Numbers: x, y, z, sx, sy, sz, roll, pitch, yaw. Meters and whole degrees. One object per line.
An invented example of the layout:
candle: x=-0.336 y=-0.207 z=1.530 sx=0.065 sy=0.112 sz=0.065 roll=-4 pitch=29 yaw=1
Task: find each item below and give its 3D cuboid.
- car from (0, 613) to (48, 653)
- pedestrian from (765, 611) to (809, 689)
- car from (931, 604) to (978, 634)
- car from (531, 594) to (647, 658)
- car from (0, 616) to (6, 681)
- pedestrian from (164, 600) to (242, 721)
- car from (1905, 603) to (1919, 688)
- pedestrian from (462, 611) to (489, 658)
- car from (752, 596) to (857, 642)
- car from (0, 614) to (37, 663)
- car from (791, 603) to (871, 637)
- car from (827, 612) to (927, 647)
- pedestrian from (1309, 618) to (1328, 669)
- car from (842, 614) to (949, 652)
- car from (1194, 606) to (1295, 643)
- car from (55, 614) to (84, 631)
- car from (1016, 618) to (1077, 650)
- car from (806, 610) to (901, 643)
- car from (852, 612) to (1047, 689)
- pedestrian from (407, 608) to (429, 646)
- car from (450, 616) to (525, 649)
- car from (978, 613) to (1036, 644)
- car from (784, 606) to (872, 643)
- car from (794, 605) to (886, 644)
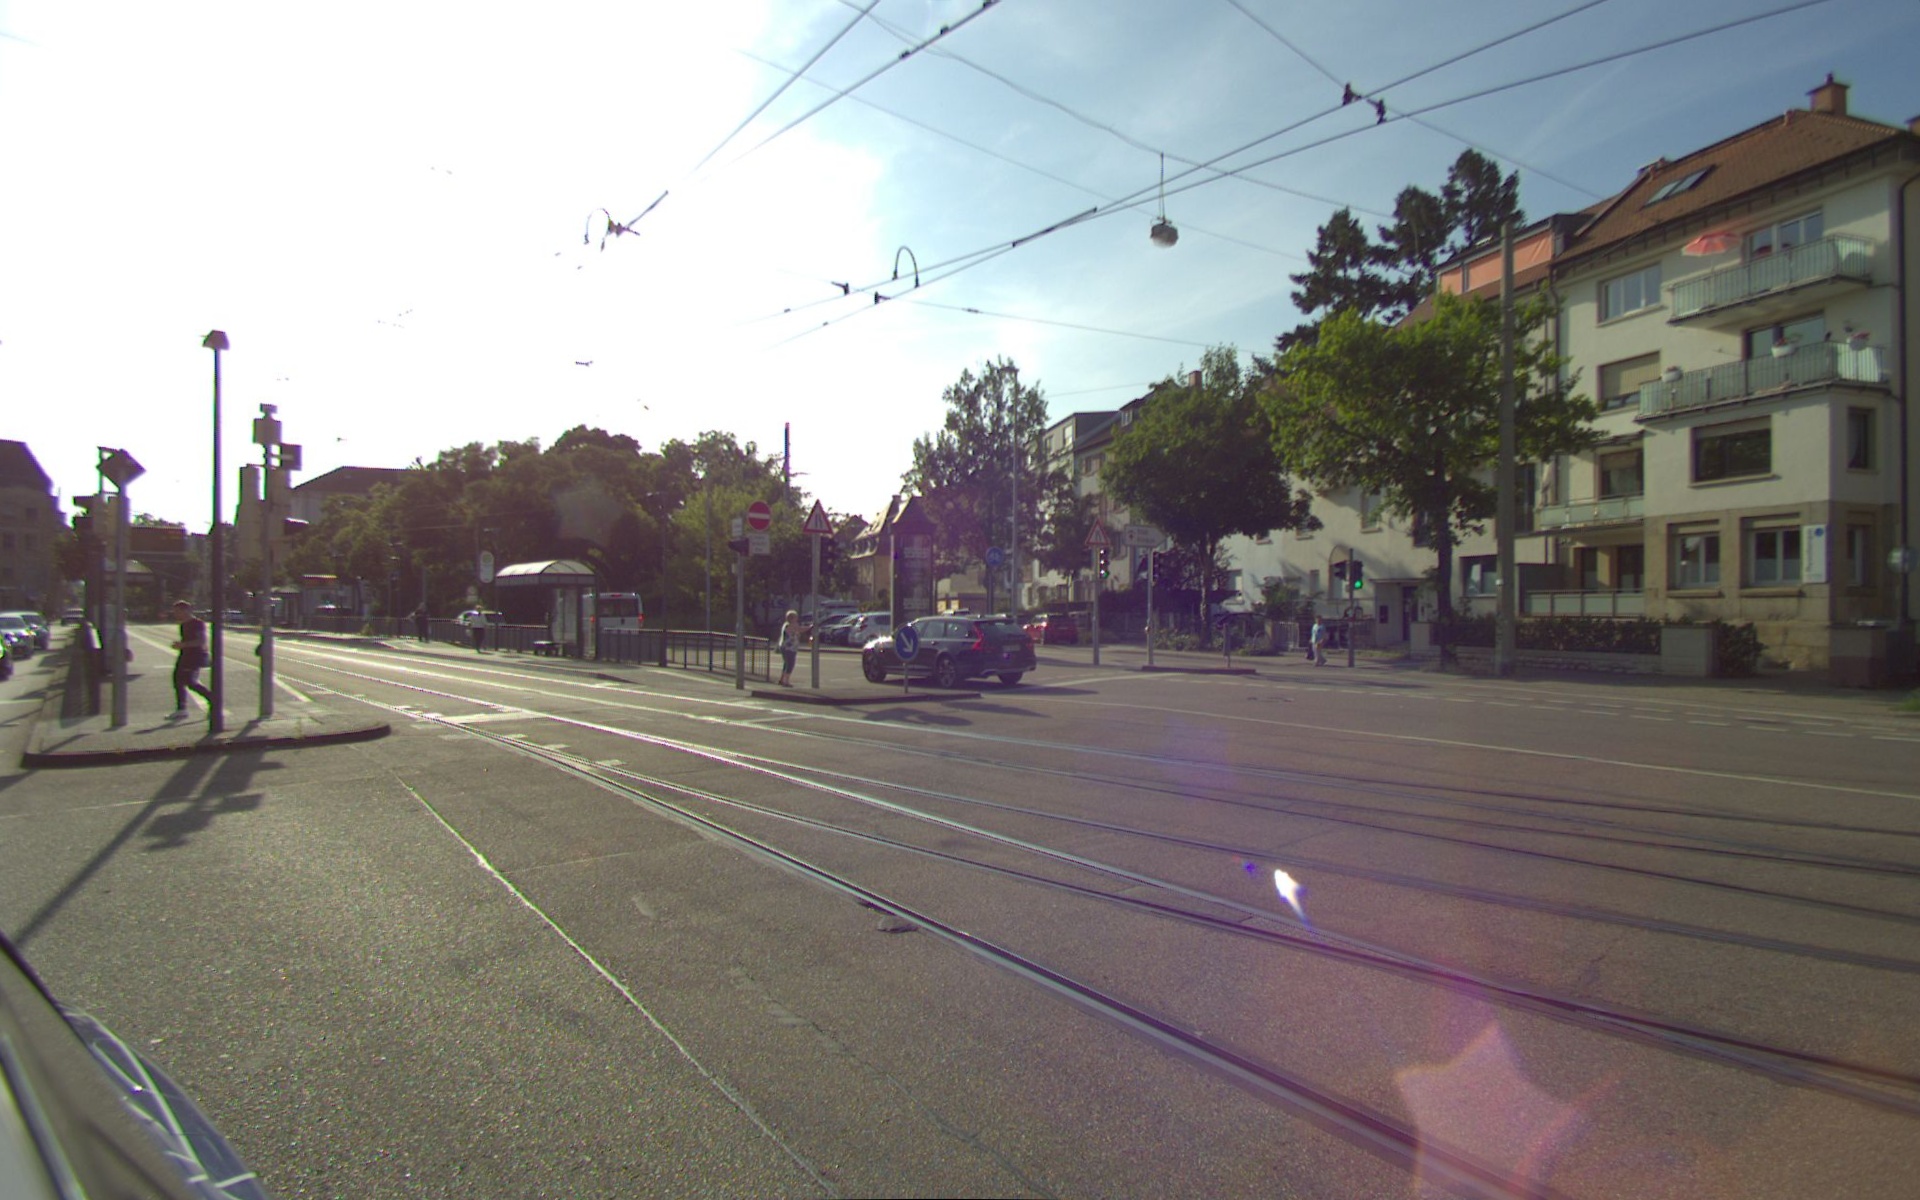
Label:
car: x=-37.285 y=1.278 z=40.013 sx=1.755 sy=1.516 sz=4.006 roll=1 pitch=-1 yaw=-41
pedestrian: x=-3.611 y=1.027 z=21.130 sx=0.583 sy=1.601 sz=0.716 roll=1 pitch=-1 yaw=-45
car: x=-0.392 y=1.212 z=63.295 sx=1.787 sy=1.813 sz=4.012 roll=0 pitch=-1 yaw=-19
car: x=-14.026 y=0.955 z=38.061 sx=2.151 sy=2.256 sz=5.257 roll=1 pitch=-2 yaw=-44
car: x=-23.070 y=1.122 z=23.075 sx=1.755 sy=1.516 sz=4.006 roll=1 pitch=-1 yaw=-41
pedestrian: x=-10.928 y=0.854 z=14.615 sx=0.869 sy=1.683 sz=0.673 roll=1 pitch=-1 yaw=-39
car: x=20.731 y=0.870 z=19.585 sx=3.932 sy=1.644 sz=1.781 roll=0 pitch=-1 yaw=-17
pedestrian: x=-17.322 y=1.224 z=36.177 sx=0.697 sy=1.640 sz=0.728 roll=1 pitch=-1 yaw=-41
car: x=-10.031 y=1.199 z=65.549 sx=6.488 sy=2.830 sz=1.778 roll=0 pitch=-1 yaw=-20
car: x=-31.077 y=1.199 z=32.787 sx=1.647 sy=1.516 sz=3.877 roll=1 pitch=-1 yaw=-41
car: x=-6.968 y=1.055 z=54.637 sx=3.930 sy=1.767 sz=1.860 roll=0 pitch=-1 yaw=-23
car: x=-3.577 y=1.258 z=43.411 sx=3.931 sy=1.439 sz=1.778 roll=0 pitch=-1 yaw=-20
pedestrian: x=10.925 y=1.314 z=30.831 sx=0.399 sy=1.527 sz=0.391 roll=0 pitch=-1 yaw=-15
car: x=-2.594 y=1.296 z=40.520 sx=3.931 sy=1.439 sz=1.778 roll=0 pitch=-1 yaw=-20
car: x=12.772 y=1.089 z=45.509 sx=3.932 sy=1.570 sz=1.862 roll=0 pitch=-1 yaw=-16
car: x=-87.818 y=2.198 z=99.779 sx=1.970 sy=1.697 sz=4.004 roll=1 pitch=-1 yaw=-43
car: x=4.086 y=1.579 z=48.285 sx=1.523 sy=1.437 sz=3.876 roll=0 pitch=-1 yaw=-18
car: x=-4.843 y=1.191 z=45.988 sx=3.931 sy=1.439 sz=1.778 roll=0 pitch=-1 yaw=-20
car: x=-0.359 y=1.088 z=22.196 sx=1.744 sy=1.506 sz=4.753 roll=1 pitch=-3 yaw=-38
pedestrian: x=-23.718 y=1.167 z=44.292 sx=0.725 sy=1.640 sz=0.690 roll=1 pitch=-1 yaw=-41
car: x=-22.477 y=1.555 z=48.098 sx=4.121 sy=1.537 sz=1.659 roll=-2 pitch=-2 yaw=40
car: x=2.454 y=1.509 z=53.811 sx=1.787 sy=1.585 sz=4.012 roll=0 pitch=-1 yaw=-18
car: x=-6.494 y=1.175 z=49.847 sx=3.930 sy=1.767 sz=1.860 roll=0 pitch=-1 yaw=-23
car: x=-5.688 y=1.154 z=47.940 sx=3.930 sy=1.767 sz=1.860 roll=0 pitch=-1 yaw=-23
